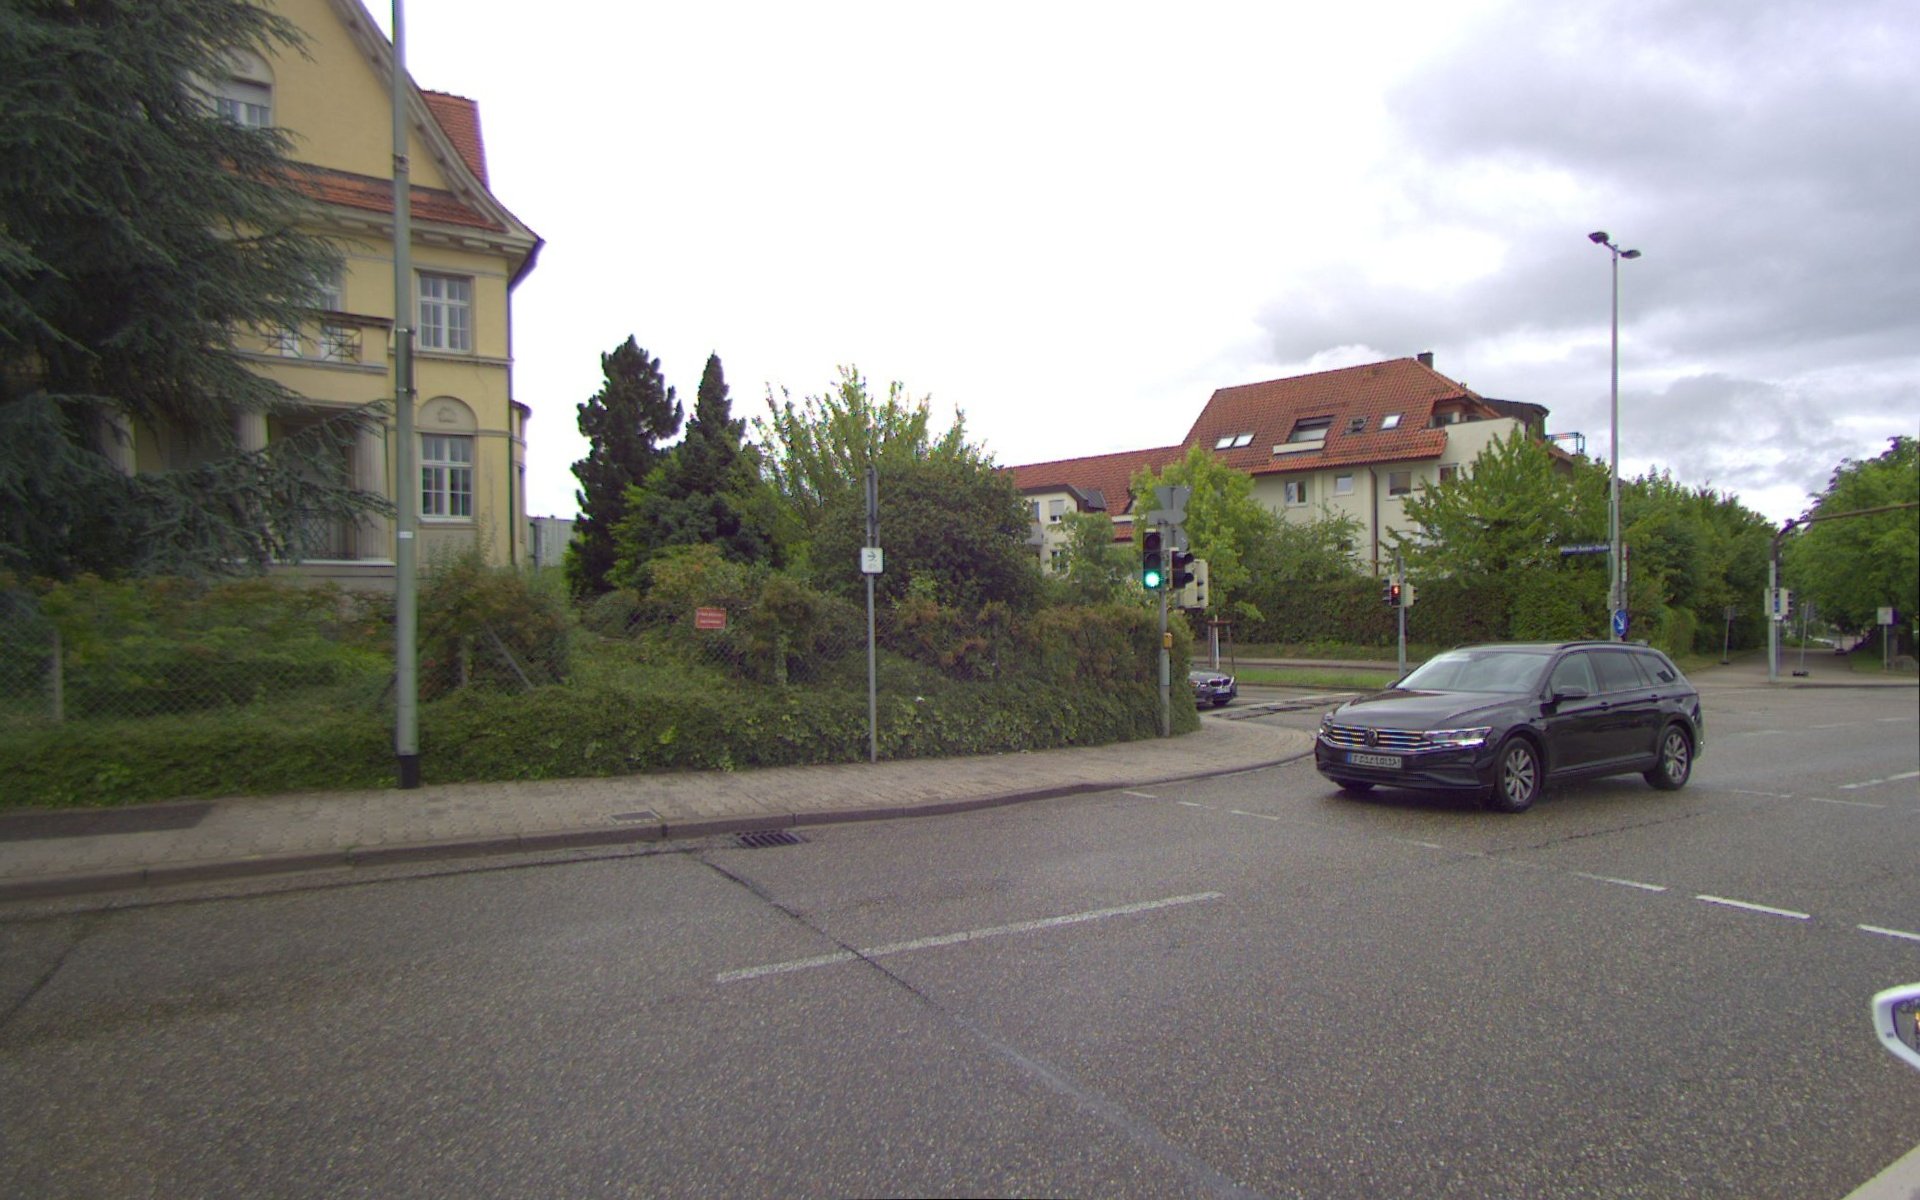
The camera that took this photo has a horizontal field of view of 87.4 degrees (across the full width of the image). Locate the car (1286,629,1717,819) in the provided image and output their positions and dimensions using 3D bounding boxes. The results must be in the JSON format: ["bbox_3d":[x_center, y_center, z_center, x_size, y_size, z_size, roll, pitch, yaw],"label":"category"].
[{"bbox_3d":[5.446,1.086,9.966,4.421,1.521,1.767,2,-3,-31],"label":"car"}]

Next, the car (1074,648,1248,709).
[{"bbox_3d":[5.098,1.995,26.031,1.759,1.411,4.392,0,-3,-36],"label":"car"}]
